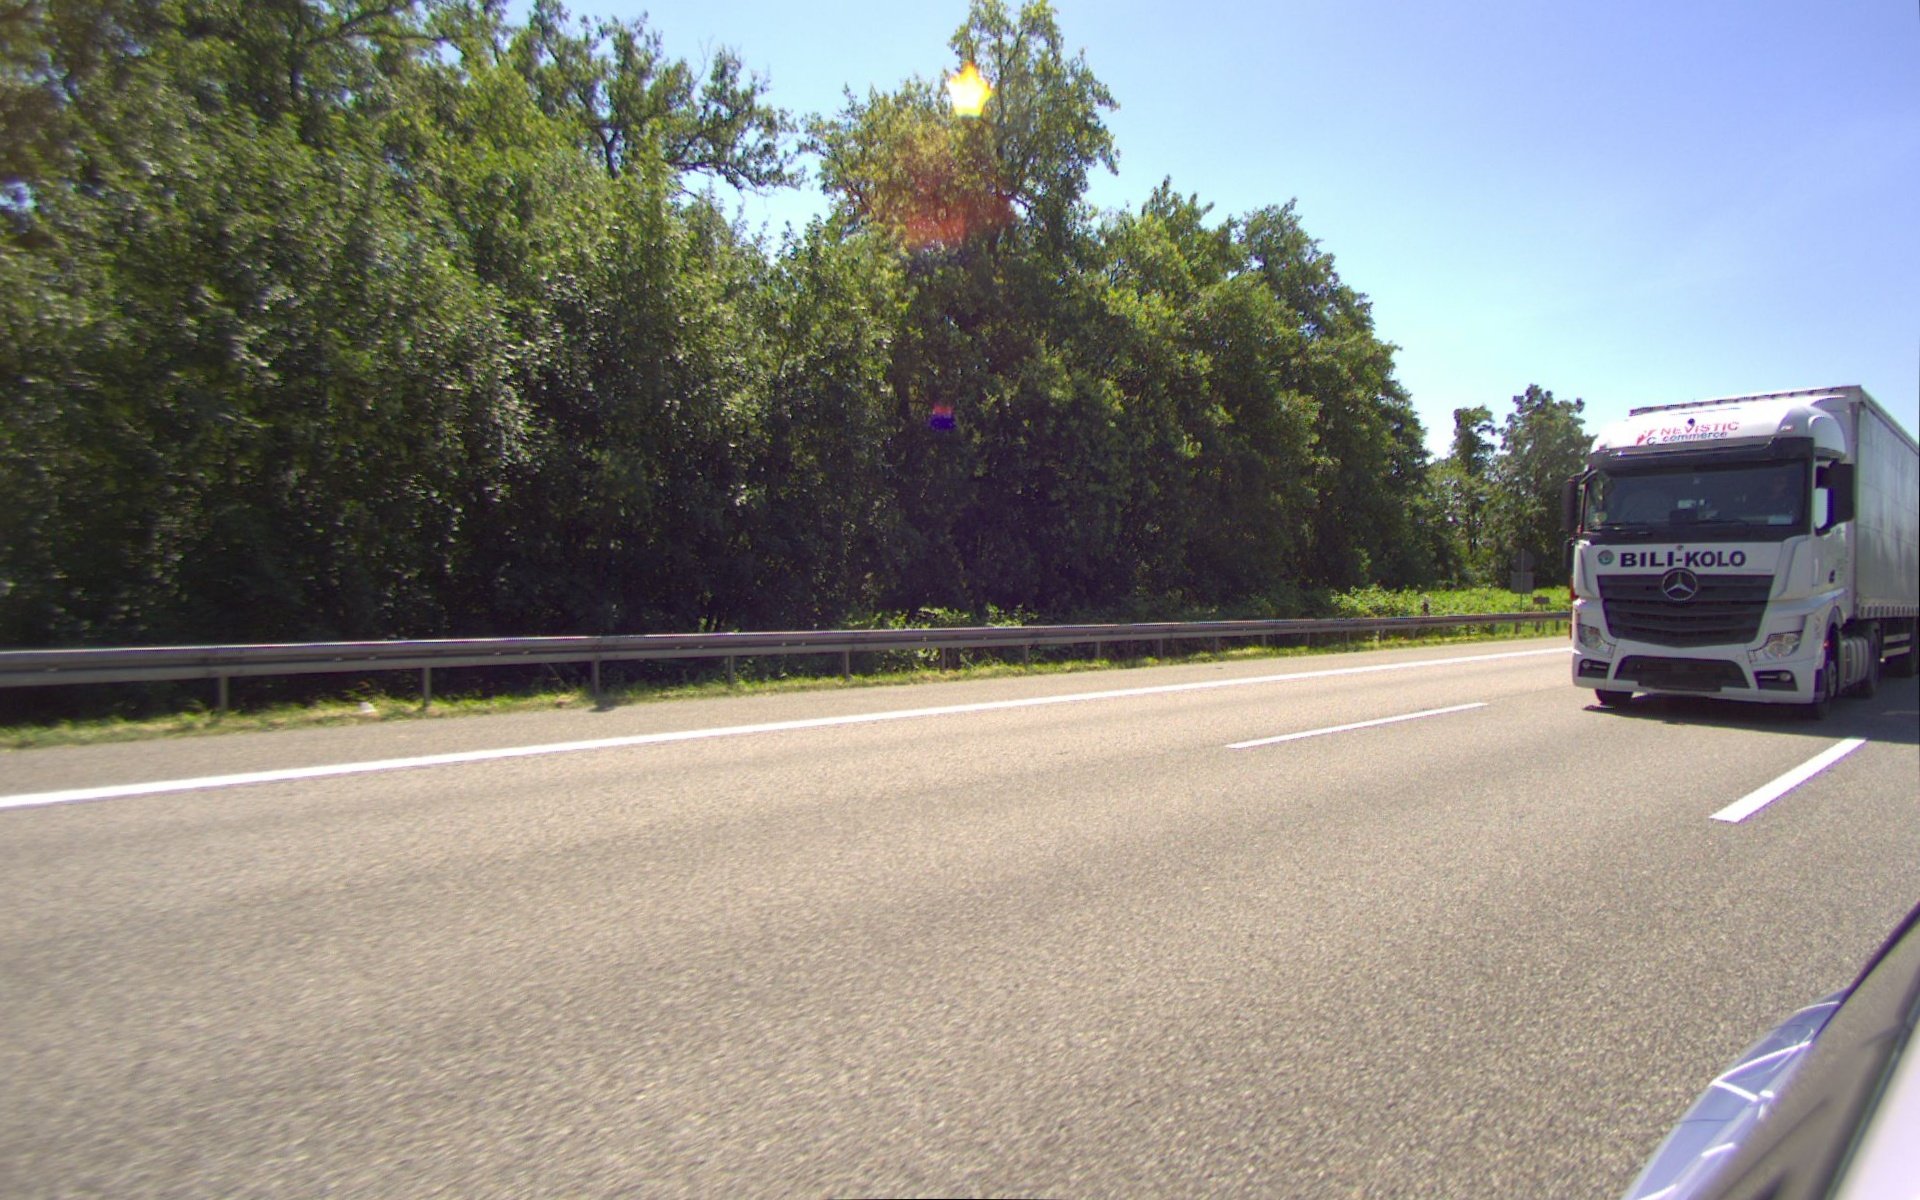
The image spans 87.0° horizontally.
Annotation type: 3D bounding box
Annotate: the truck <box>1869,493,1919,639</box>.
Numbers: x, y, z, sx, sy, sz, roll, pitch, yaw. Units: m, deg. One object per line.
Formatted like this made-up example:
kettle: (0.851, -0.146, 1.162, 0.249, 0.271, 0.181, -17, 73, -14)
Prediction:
truck: (29.068, -0.972, 29.824, 5.918, 4.057, 2.804, -1, 1, -42)

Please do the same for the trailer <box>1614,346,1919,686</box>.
trailer: (15.565, -1.175, 18.135, 14.493, 4.119, 2.712, -1, 1, -42)

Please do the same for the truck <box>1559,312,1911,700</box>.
truck: (10.865, -1.078, 13.952, 6.342, 4.145, 2.705, -1, 1, -42)

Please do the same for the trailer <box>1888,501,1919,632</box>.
trailer: (34.824, -1.091, 35.087, 12.353, 4.086, 2.799, -1, 1, -42)
